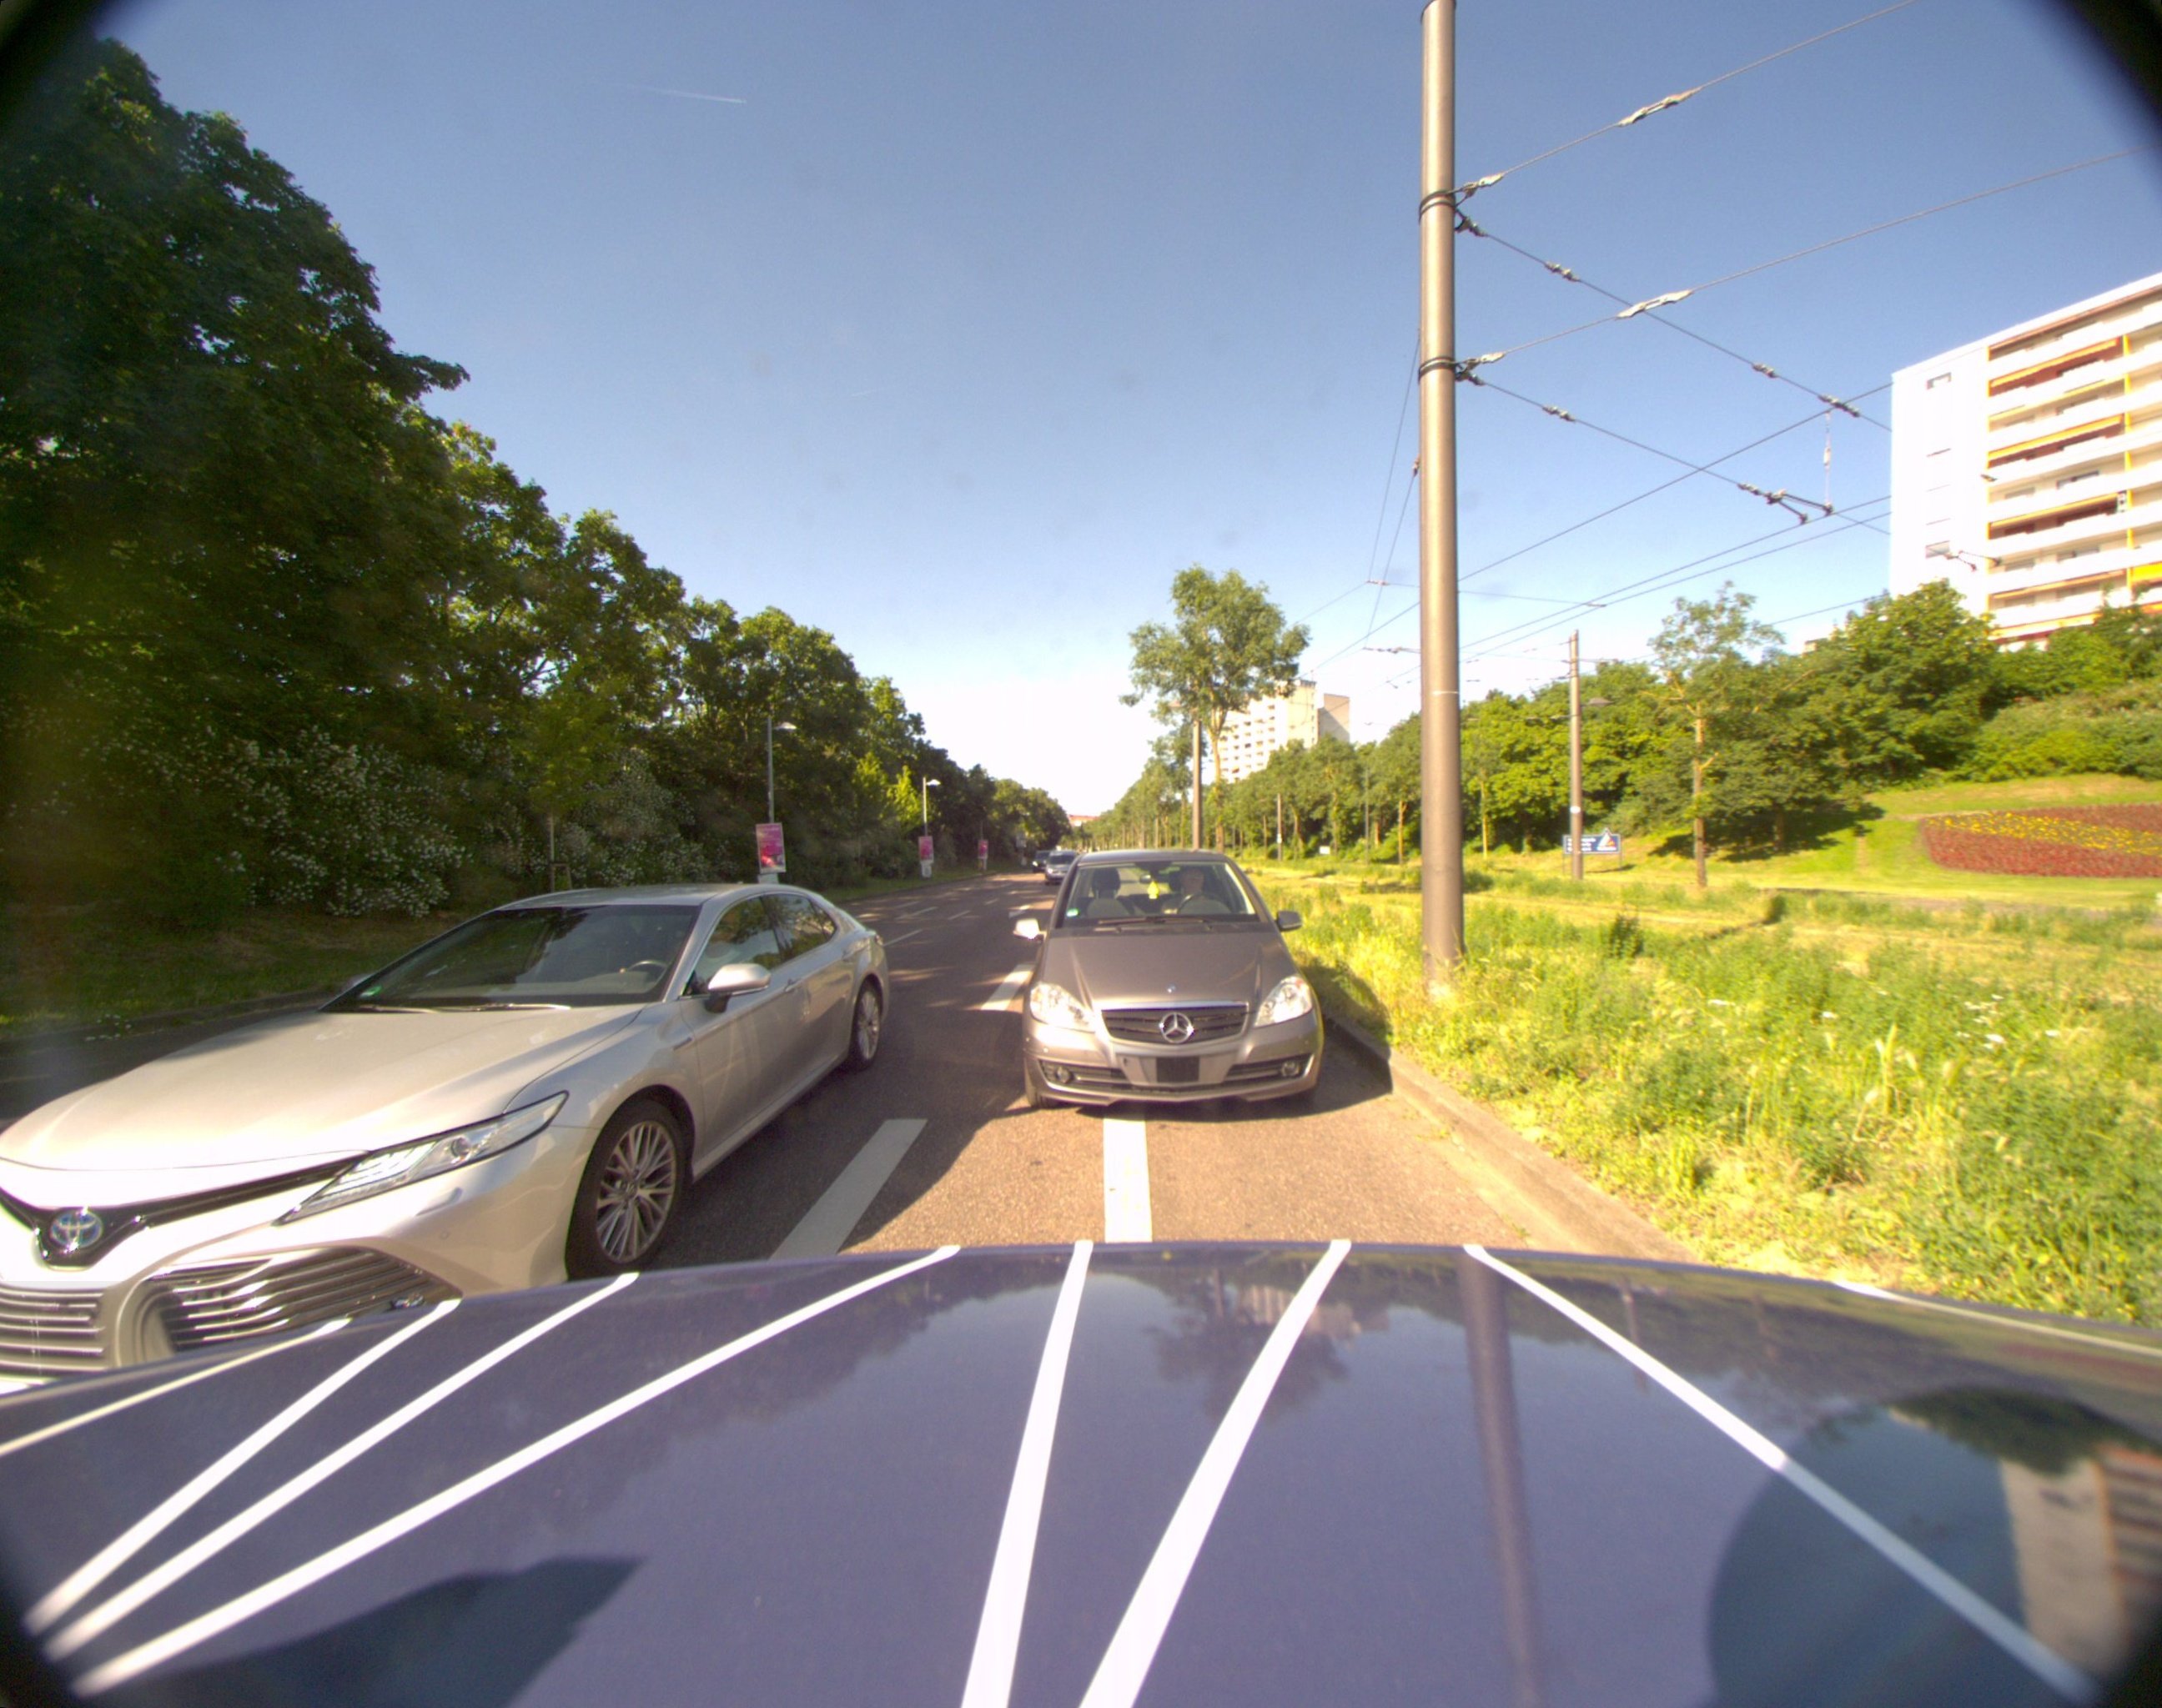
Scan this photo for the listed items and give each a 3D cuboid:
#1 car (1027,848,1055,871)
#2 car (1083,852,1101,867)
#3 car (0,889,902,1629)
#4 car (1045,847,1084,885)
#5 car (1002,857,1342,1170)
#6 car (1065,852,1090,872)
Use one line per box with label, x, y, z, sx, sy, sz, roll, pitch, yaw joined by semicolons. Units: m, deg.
car;-3.395;0.423;65.464;1.998;1.882;5.148;-1;0;1
car;1.212;0.560;79.316;1.776;1.395;4.067;-1;0;2
car;-2.647;1.048;4.125;2.069;1.451;4.749;-1;0;2
car;-0.835;0.591;41.116;1.822;1.893;4.622;-1;0;2
car;0.513;0.855;6.209;1.777;1.597;4.384;-1;0;1
car;-0.218;0.600;58.052;1.776;1.395;4.067;-1;0;2
